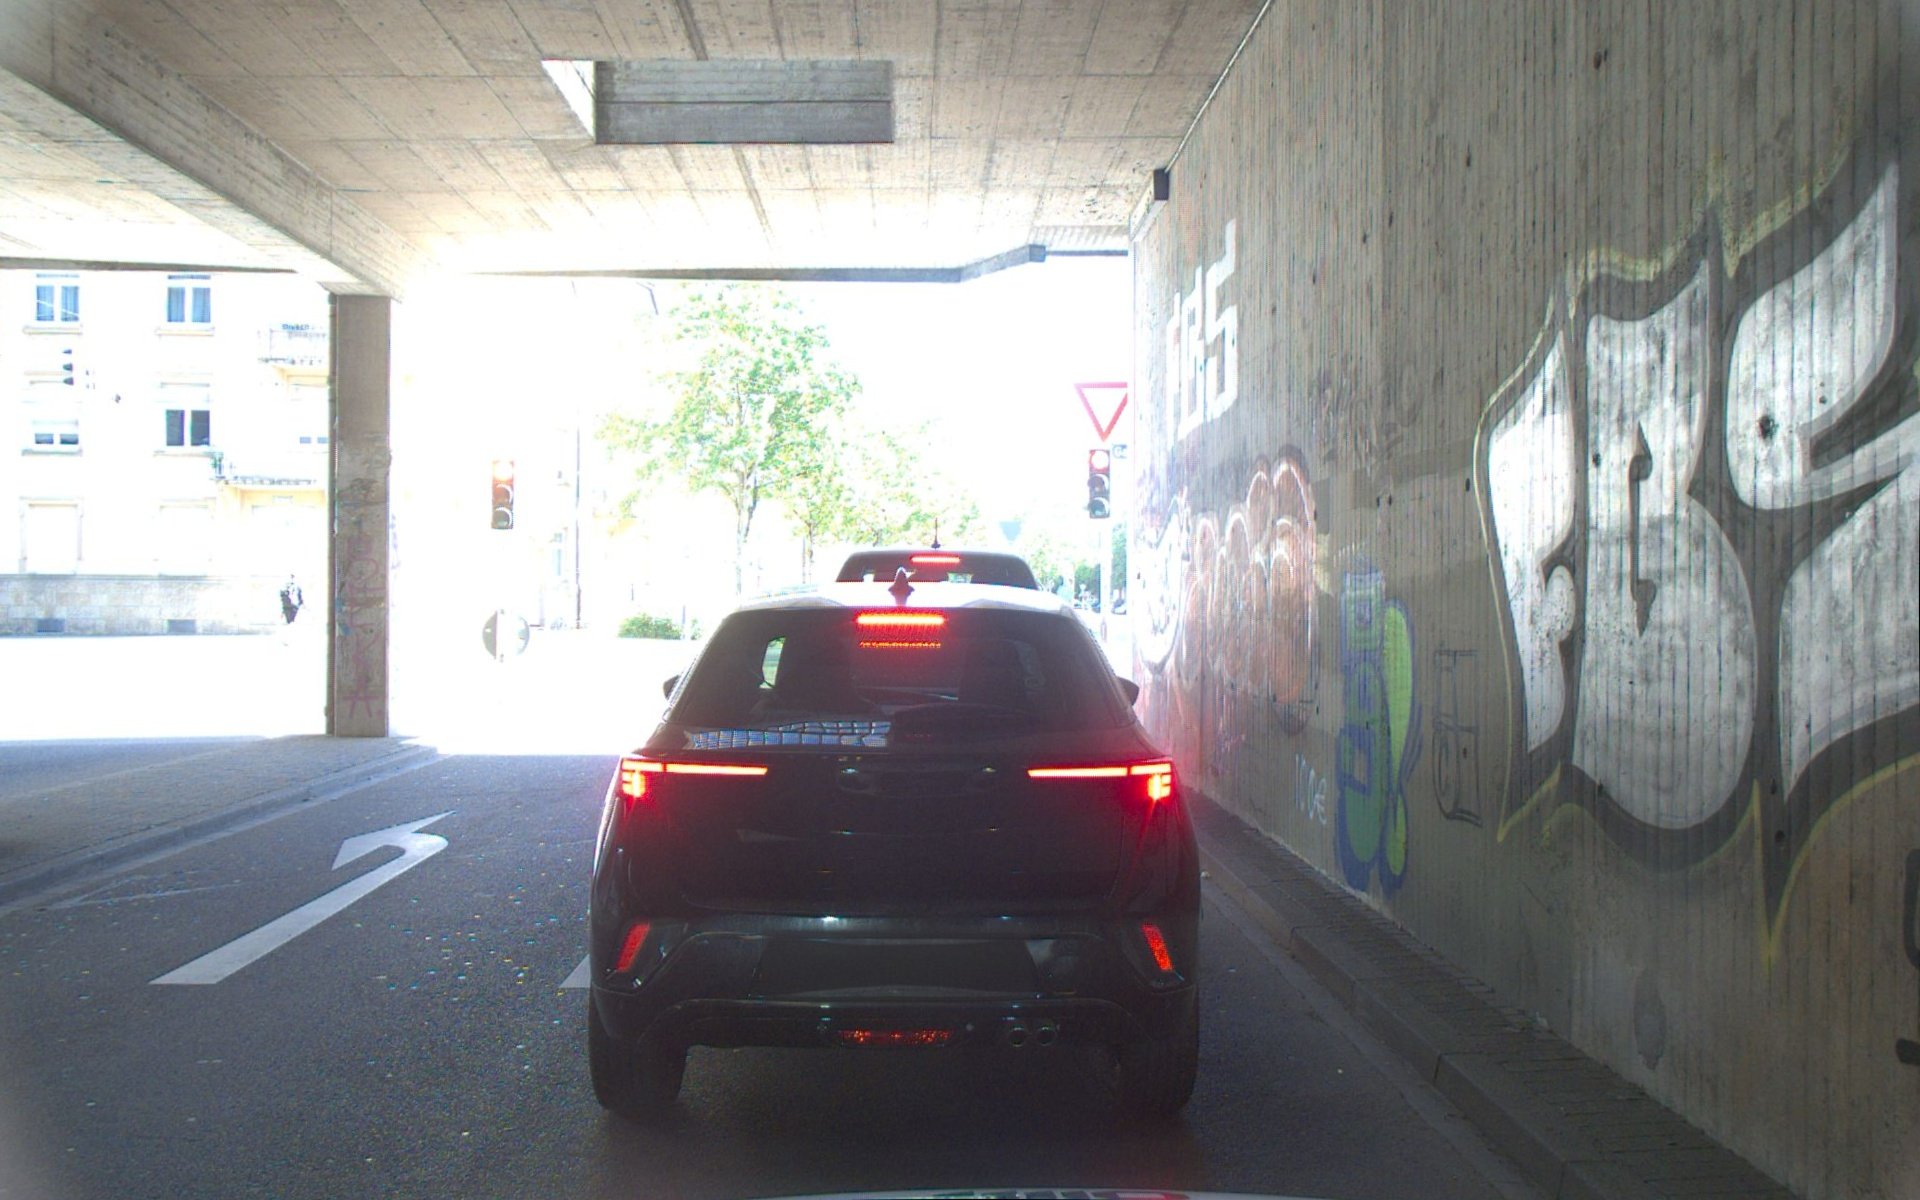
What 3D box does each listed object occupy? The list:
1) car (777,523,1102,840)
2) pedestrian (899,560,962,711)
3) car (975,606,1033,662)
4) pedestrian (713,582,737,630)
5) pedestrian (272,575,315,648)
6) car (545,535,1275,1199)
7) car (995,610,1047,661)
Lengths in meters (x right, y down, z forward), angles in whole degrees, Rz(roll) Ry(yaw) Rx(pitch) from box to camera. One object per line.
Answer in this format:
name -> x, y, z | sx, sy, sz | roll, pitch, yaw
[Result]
car -> -0.151, 0.477, 11.980 | 1.953, 1.904, 3.999 | 0, 0, -1
pedestrian -> -0.356, 0.419, 19.897 | 0.716, 1.764, 0.874 | 1, -1, -1
car -> 1.702, 1.259, 62.346 | 1.951, 2.004, 4.166 | 1, 0, 4
pedestrian -> -10.511, 0.269, 74.058 | 0.873, 2.124, 0.808 | 1, -1, 7
pedestrian -> -15.451, 0.257, 38.345 | 0.658, 1.666, 0.740 | 1, -1, -1
car -> -0.147, 0.613, 5.975 | 1.729, 1.598, 4.000 | 1, 1, -1
car -> 2.561, 1.430, 68.560 | 1.951, 2.004, 4.166 | 1, 0, 4
